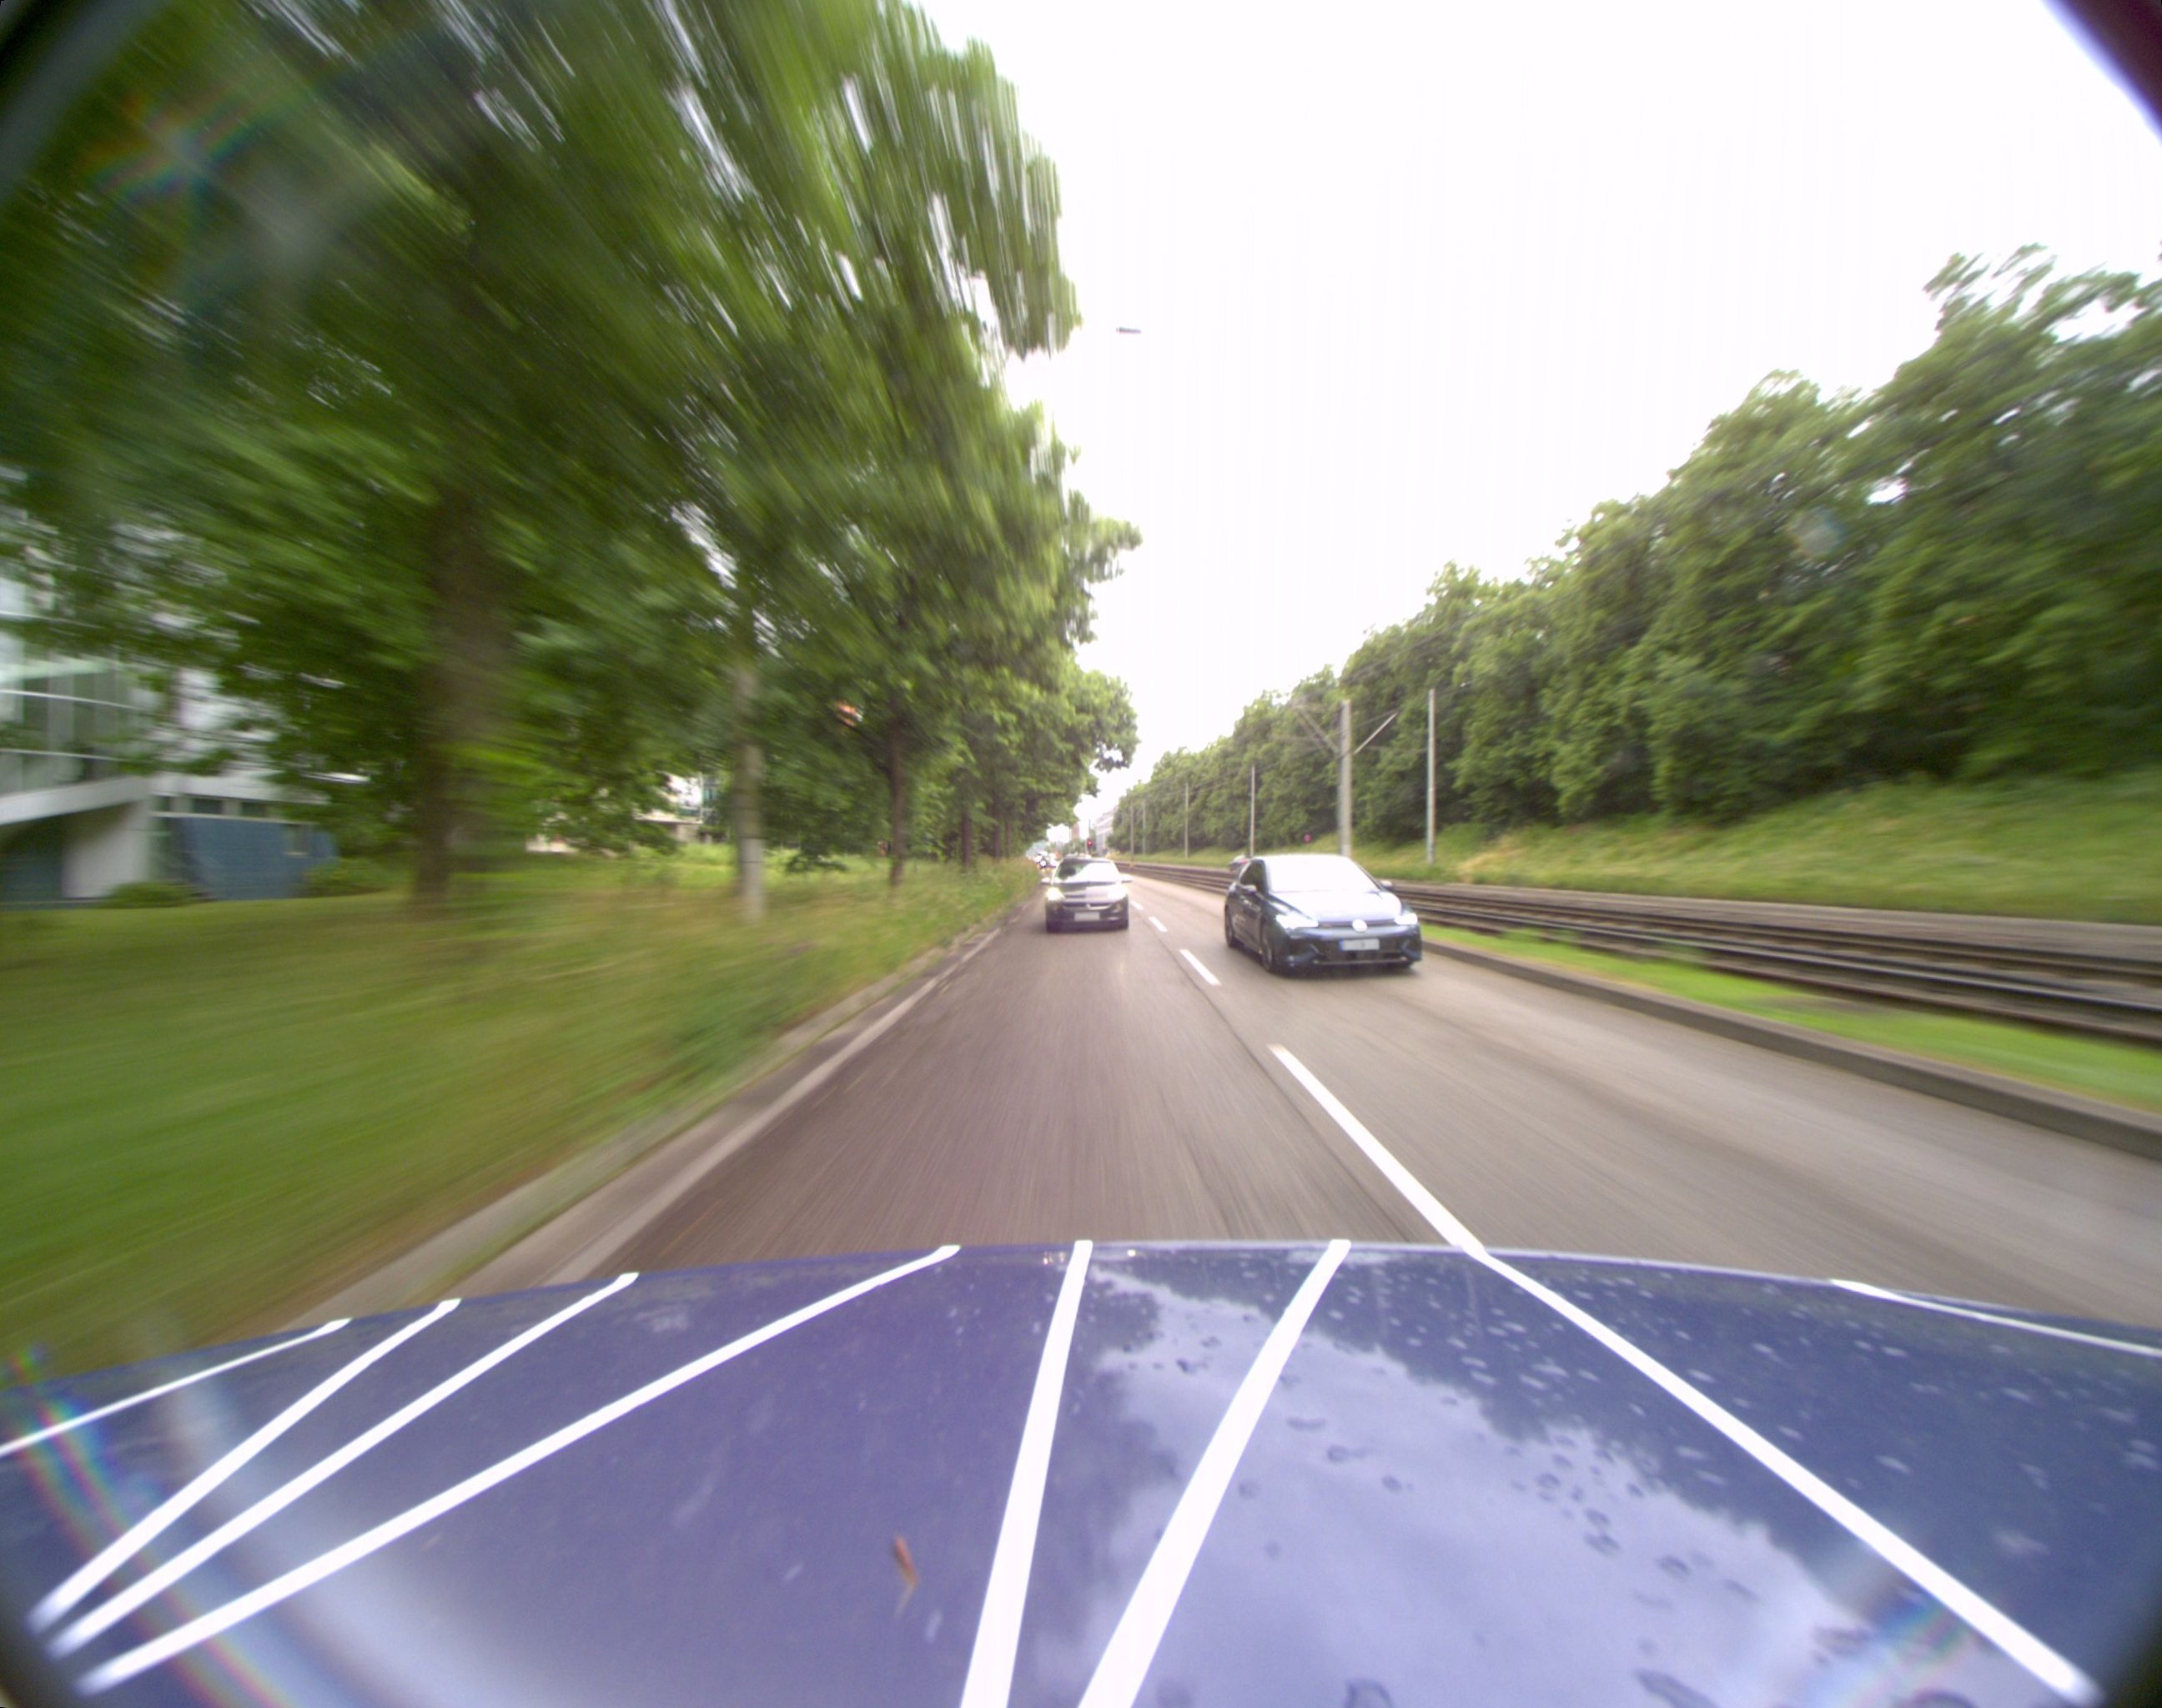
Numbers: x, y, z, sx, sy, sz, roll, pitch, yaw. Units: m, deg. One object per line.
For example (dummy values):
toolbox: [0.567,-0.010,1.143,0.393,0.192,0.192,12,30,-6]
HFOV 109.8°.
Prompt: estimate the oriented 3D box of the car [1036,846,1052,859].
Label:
car: [-5.736,-0.196,117.071,1.961,1.914,4.842,-3,1,-6]

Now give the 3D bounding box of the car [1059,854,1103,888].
car: [-0.031,0.750,36.761,1.960,1.457,4.698,-1,1,-1]

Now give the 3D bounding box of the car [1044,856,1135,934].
car: [0.167,0.786,16.785,1.711,1.425,4.428,-1,0,0]

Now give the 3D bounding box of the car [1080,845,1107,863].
car: [1.139,-0.017,71.934,1.961,1.472,4.697,-3,0,-5]

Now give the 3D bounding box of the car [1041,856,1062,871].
car: [-3.296,1.032,83.812,1.961,1.469,4.696,-3,1,-7]

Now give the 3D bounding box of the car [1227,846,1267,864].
car: [14.663,0.103,67.434,2.000,1.423,4.428,4,0,-7]

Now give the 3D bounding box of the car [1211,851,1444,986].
car: [3.101,0.712,10.592,1.812,1.370,4.346,-3,1,0]
